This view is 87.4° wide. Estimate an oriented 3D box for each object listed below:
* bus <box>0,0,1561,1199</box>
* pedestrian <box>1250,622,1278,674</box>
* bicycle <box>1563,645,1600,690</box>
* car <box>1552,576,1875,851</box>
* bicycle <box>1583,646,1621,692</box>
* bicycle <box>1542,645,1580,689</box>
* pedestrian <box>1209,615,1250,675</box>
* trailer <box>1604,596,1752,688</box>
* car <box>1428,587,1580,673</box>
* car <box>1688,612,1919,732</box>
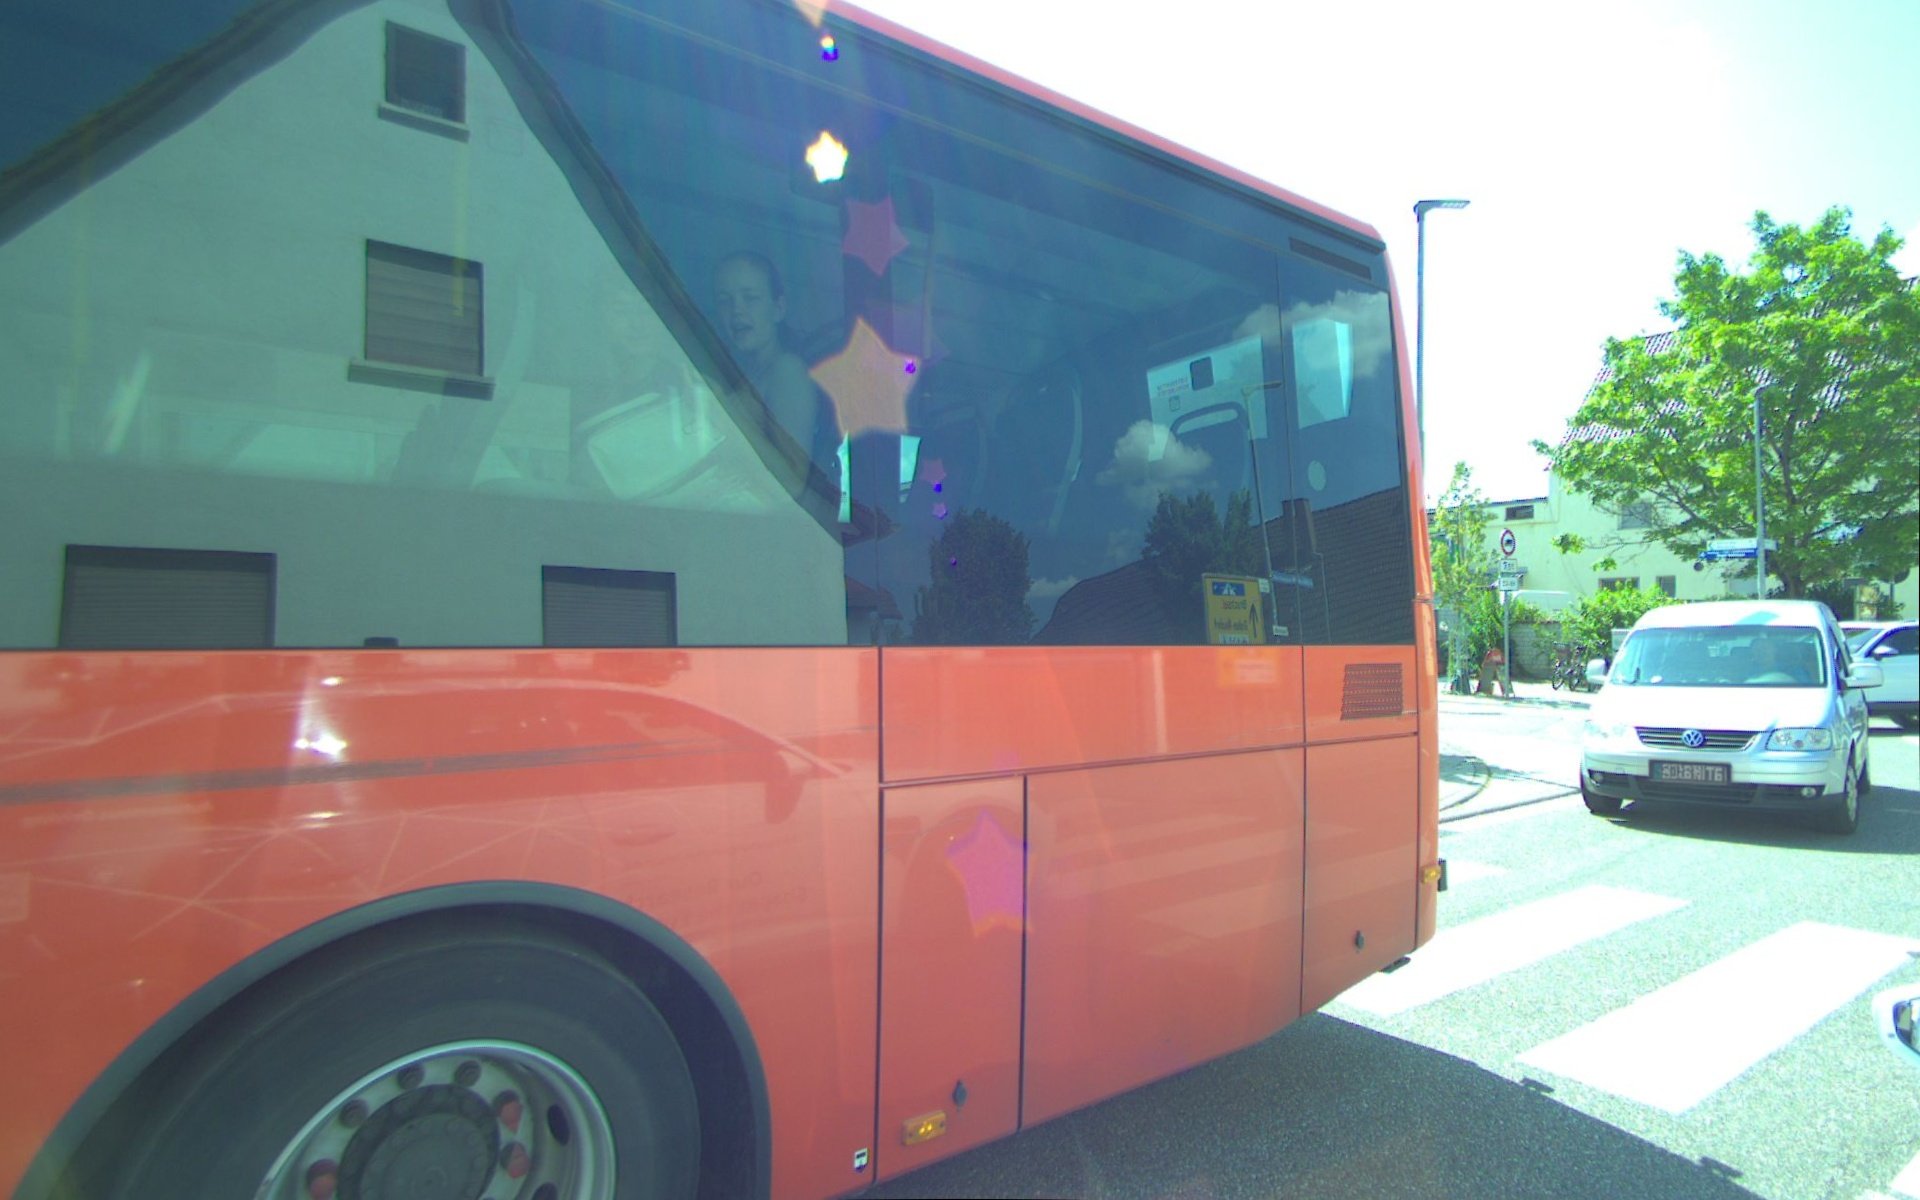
[{"bbox_3d":[-3.424,-0.126,1.367,11.903,3.274,2.610,1,-4,-35],"label":"bus"},{"bbox_3d":[9.554,1.511,31.614,0.735,1.610,0.881,-1,0,9],"label":"pedestrian"},{"bbox_3d":[15.782,1.702,25.492,0.396,1.017,1.970,-1,0,44],"label":"bicycle"},{"bbox_3d":[6.900,0.861,8.993,1.753,1.845,4.415,-3,-4,44],"label":"car"},{"bbox_3d":[16.091,1.710,25.165,0.396,1.017,1.970,-1,0,44],"label":"bicycle"},{"bbox_3d":[15.454,1.693,25.794,0.396,1.017,1.970,-1,0,44],"label":"bicycle"},{"bbox_3d":[8.559,1.399,31.863,1.013,1.850,0.775,-1,0,-35],"label":"pedestrian"},{"bbox_3d":[20.094,1.134,28.058,4.475,2.366,1.868,1,0,-33],"label":"trailer"},{"bbox_3d":[17.810,0.971,32.766,5.587,2.601,1.925,1,0,-33],"label":"car"},{"bbox_3d":[14.141,1.074,15.490,4.452,1.732,1.872,0,-1,0],"label":"car"}]
